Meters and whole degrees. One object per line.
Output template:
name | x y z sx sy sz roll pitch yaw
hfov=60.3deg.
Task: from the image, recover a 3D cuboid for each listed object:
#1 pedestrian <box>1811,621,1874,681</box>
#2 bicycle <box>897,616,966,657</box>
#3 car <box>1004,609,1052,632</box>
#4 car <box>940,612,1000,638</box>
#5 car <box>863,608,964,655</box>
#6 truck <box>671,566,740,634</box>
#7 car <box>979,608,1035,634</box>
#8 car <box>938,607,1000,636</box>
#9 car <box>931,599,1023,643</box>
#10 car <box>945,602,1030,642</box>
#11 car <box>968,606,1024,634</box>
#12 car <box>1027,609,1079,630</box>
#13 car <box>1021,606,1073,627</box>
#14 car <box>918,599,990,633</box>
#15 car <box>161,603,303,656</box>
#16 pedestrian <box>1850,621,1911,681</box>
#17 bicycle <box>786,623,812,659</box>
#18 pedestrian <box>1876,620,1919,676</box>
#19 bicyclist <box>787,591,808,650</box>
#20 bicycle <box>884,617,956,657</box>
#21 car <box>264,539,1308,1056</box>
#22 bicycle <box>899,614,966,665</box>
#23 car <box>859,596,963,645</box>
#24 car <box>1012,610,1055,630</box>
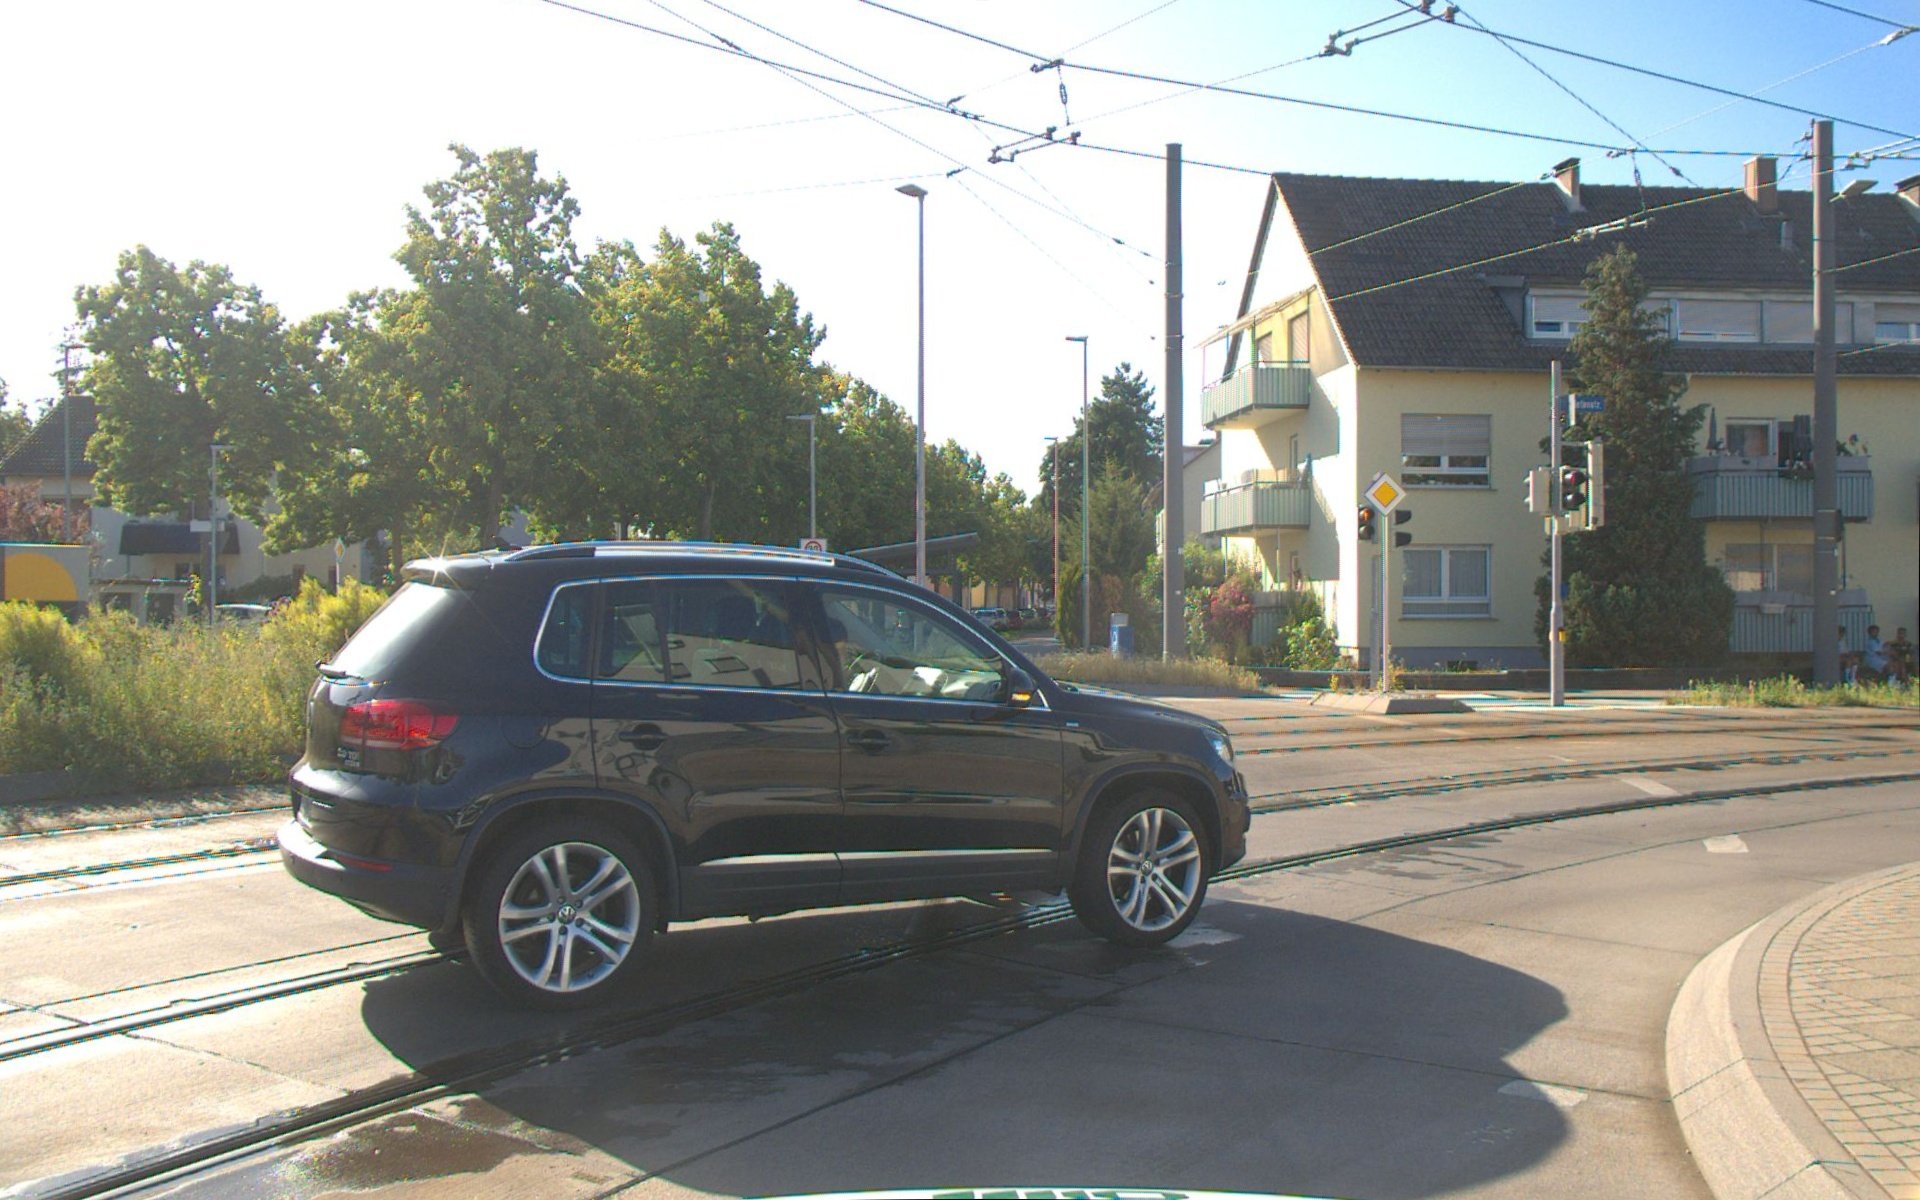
pedestrian | 16.144 0.921 30.274 0.673 1.065 0.818 1 0 -8
bicycle | -0.774 0.983 44.239 1.804 1.045 0.688 1 -1 -3
car | 5.057 1.516 123.119 3.444 1.560 1.577 1 -1 0
car | 0.585 1.422 95.283 3.368 1.419 1.238 1 -1 5
car | -1.617 1.098 58.519 3.444 1.560 1.578 1 -1 1
truck | -16.171 -0.014 105.777 3.006 4.063 8.009 1 0 1
car | 2.939 1.306 103.726 3.407 1.519 1.552 1 -1 0
car | 0.528 1.213 93.379 3.340 1.560 1.526 0 0 5
car | 0.680 0.796 63.481 3.444 1.560 1.578 1 -1 1
car | 1.137 0.897 67.963 3.444 1.560 1.578 1 -1 1
car | 2.147 1.209 98.981 3.290 1.560 1.523 1 -1 0
car | 6.347 1.327 113.240 3.444 1.318 1.577 1 -1 0
car | 5.950 1.135 113.166 3.444 1.302 1.577 1 -1 0
car | -0.271 0.766 80.654 3.444 1.560 1.578 1 -1 1
car | -25.033 1.016 56.997 3.953 1.724 2.000 1 -1 2
pedestrian | 16.967 0.935 30.479 0.620 1.083 0.808 2 -1 -39
bicycle | -4.862 1.247 50.017 0.751 1.055 1.532 1 -2 -7
pedestrian | 17.547 0.891 30.718 0.587 1.023 0.717 2 -1 -30
bicyclist | -4.916 0.623 50.016 0.591 1.744 0.543 0 -4 -7
bicycle | -1.099 1.009 45.131 1.933 1.045 0.696 1 -1 -3
car | -0.705 0.610 7.222 4.195 1.699 1.802 0 2 -28
bicycle | -0.693 0.981 41.445 1.632 1.229 0.688 1 -1 -3
car | -1.646 0.691 56.772 3.444 1.560 1.578 1 -1 1
car | 5.936 1.608 133.745 3.444 1.560 1.577 1 -1 0
